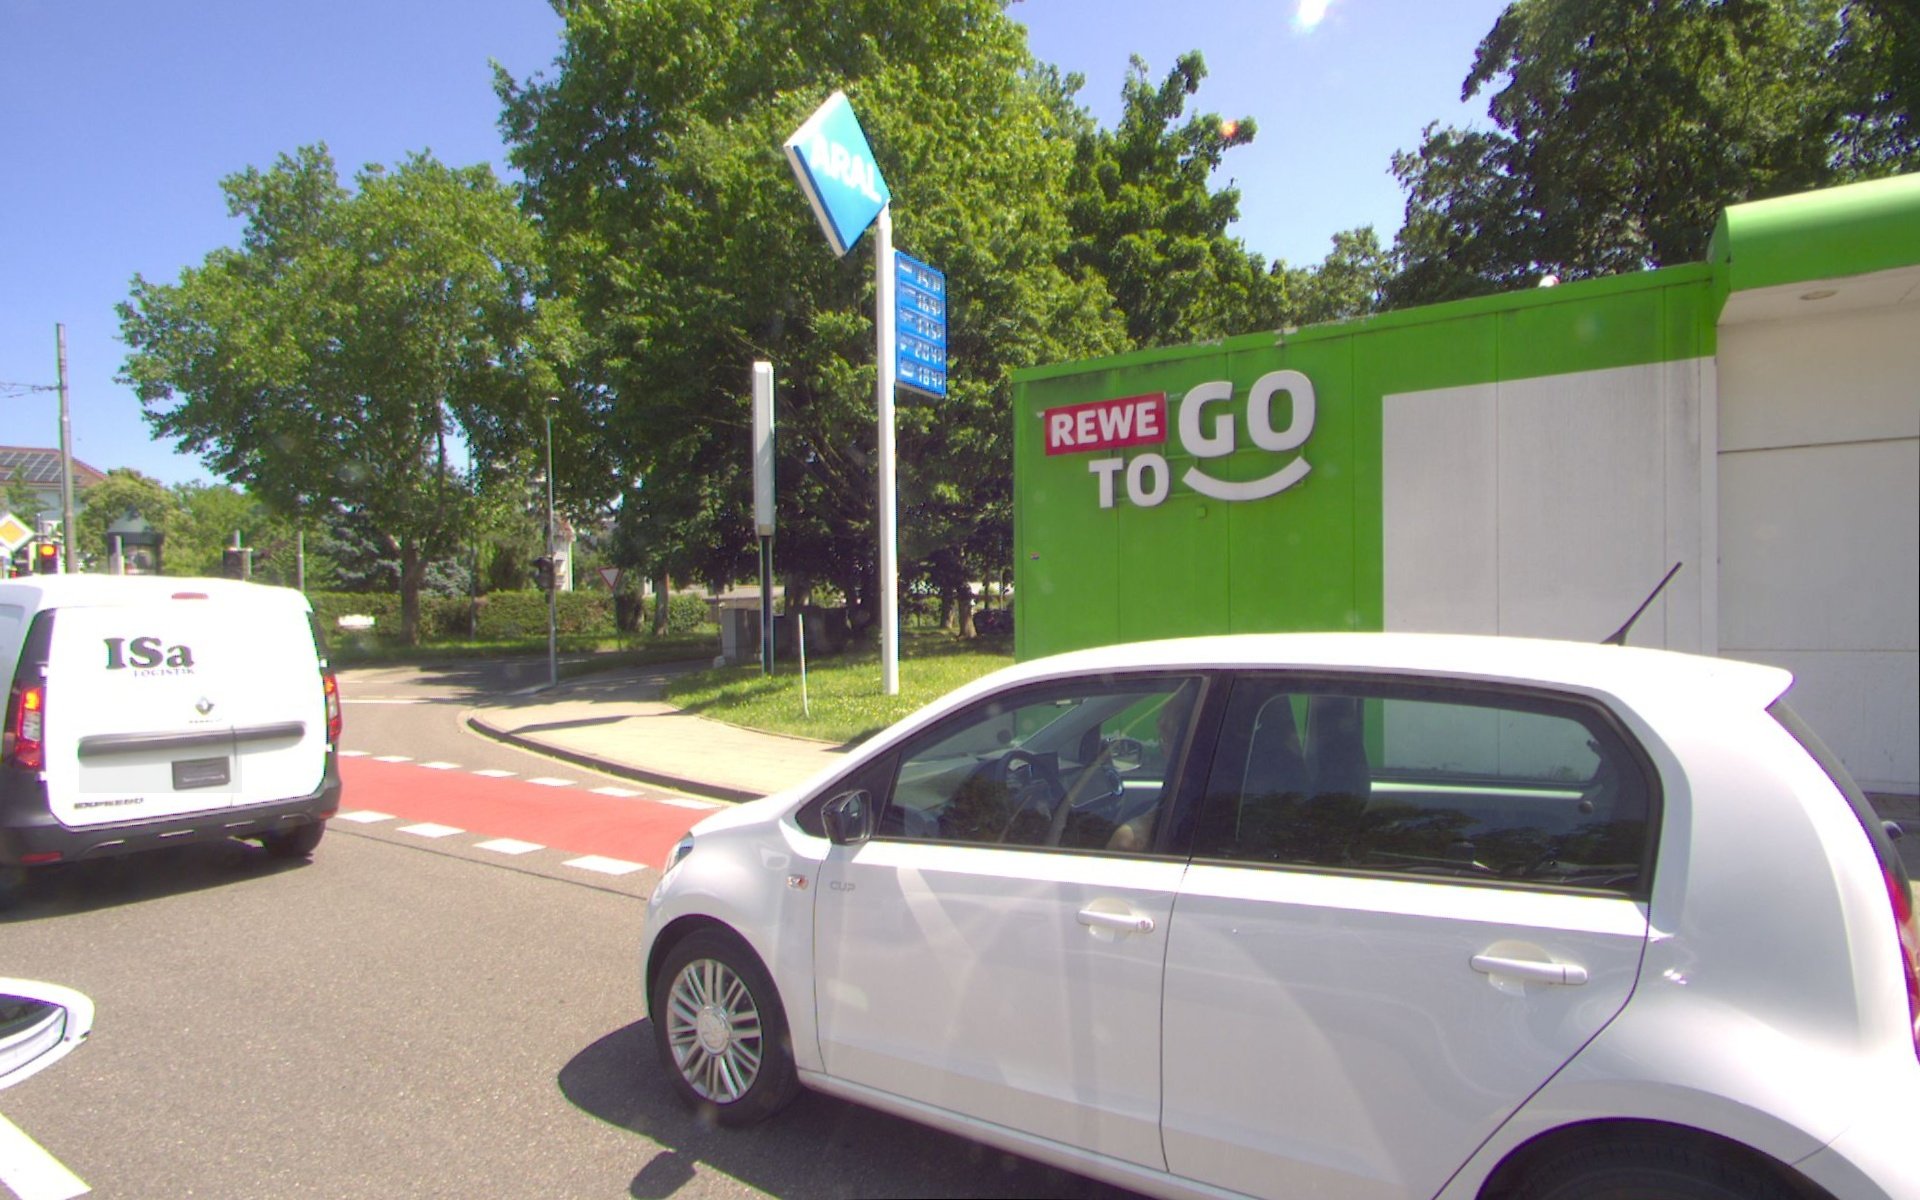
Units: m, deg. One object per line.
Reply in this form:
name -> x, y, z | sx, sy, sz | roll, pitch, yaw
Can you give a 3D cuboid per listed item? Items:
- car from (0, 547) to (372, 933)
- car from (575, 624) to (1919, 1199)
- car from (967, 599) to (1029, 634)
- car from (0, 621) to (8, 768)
car -> -5.817, 0.715, 6.572 | 3.954, 1.854, 1.708 | -1, -1, 31
car -> 0.647, 0.821, 2.973 | 3.471, 1.470, 1.603 | -1, 0, 33
car -> 2.200, 0.916, 56.592 | 1.969, 1.884, 3.983 | -1, 0, 29
car -> -11.943, 0.975, 10.641 | 3.943, 1.505, 1.753 | -1, -2, 33
